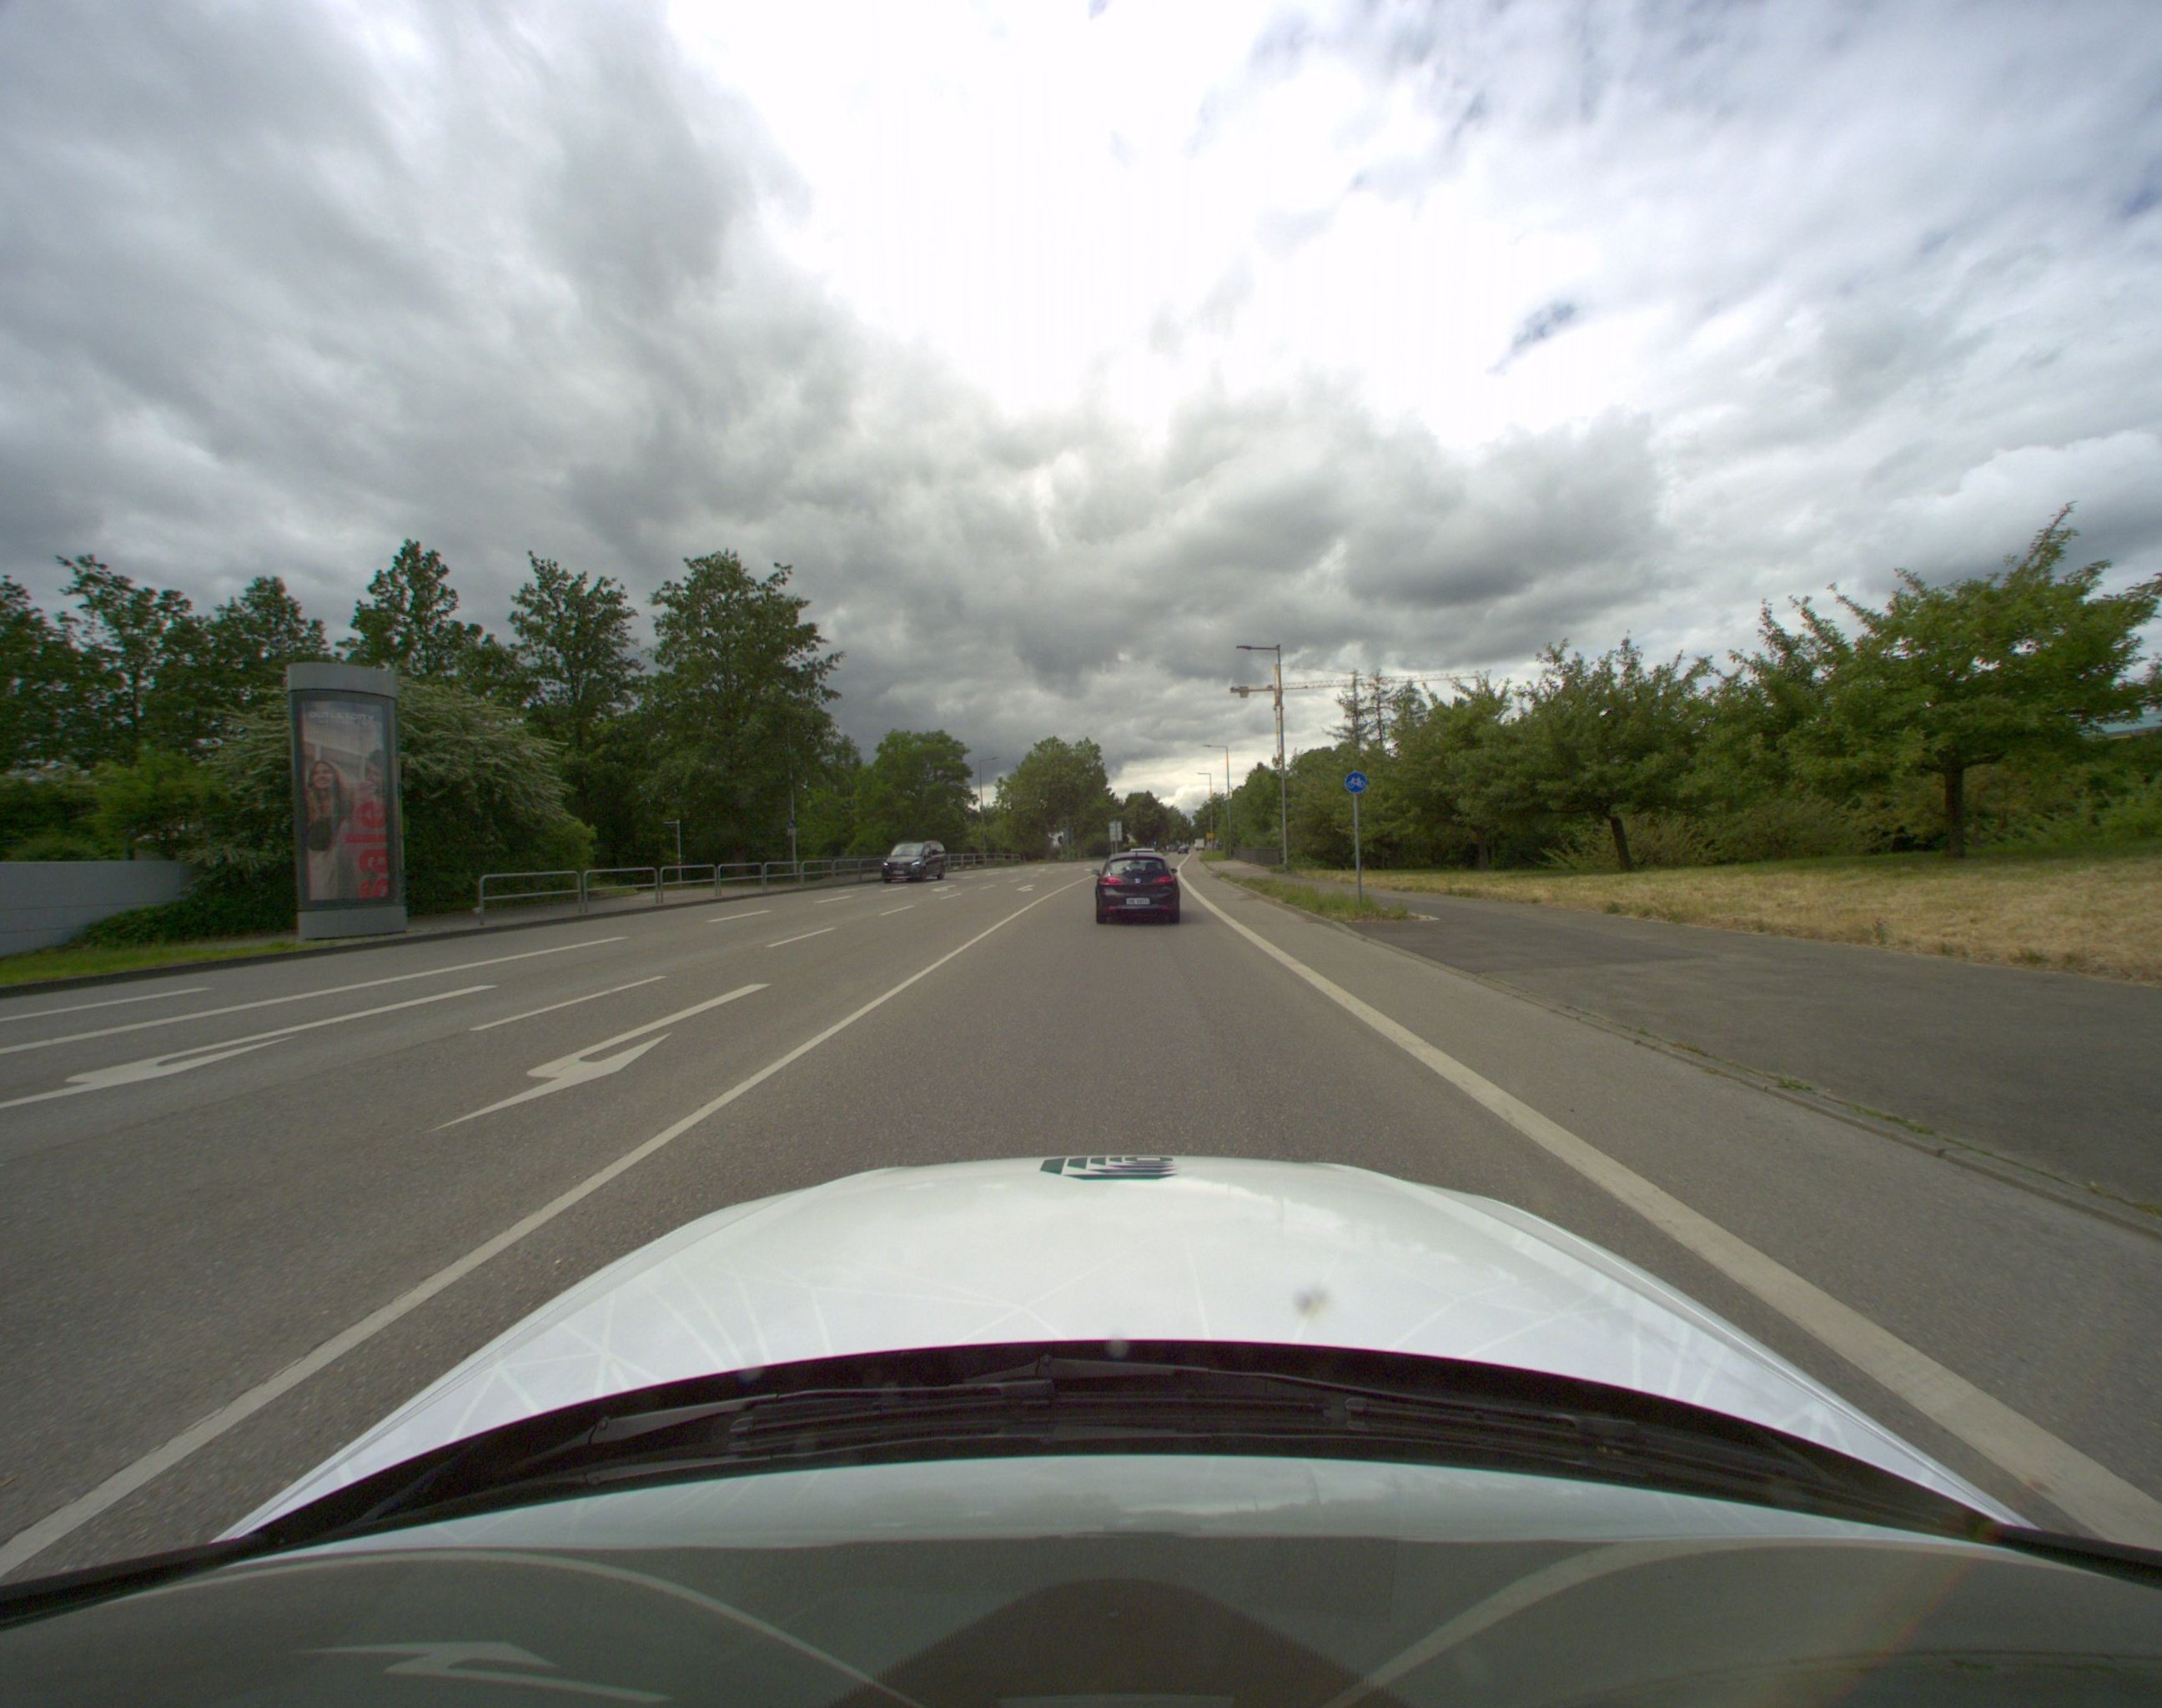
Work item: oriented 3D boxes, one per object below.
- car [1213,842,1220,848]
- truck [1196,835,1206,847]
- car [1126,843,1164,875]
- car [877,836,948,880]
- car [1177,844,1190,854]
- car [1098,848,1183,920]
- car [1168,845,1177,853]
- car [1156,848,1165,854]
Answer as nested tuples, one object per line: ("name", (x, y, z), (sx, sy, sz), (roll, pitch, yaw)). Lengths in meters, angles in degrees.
("car", (35.576, -2.301, 213.880), (1.677, 1.490, 3.365), (-2, 0, 10))
("truck", (31.984, -3.396, 217.109), (2.265, 3.103, 8.534), (0, 0, 10))
("car", (3.211, 0.224, 41.027), (1.838, 1.509, 3.816), (-1, 0, 4))
("car", (-8.040, 0.156, 39.437), (2.010, 1.947, 5.370), (-2, 1, 3))
("car", (18.547, -0.908, 147.149), (1.869, 1.689, 4.226), (-2, 0, 10))
("car", (1.251, 0.572, 17.901), (1.656, 1.401, 3.814), (-1, 0, 2))
("car", (24.940, -1.397, 221.486), (2.087, 1.896, 5.801), (-4, 0, 10))
("car", (18.901, -0.727, 192.713), (1.707, 1.395, 4.815), (-4, 0, 10))
